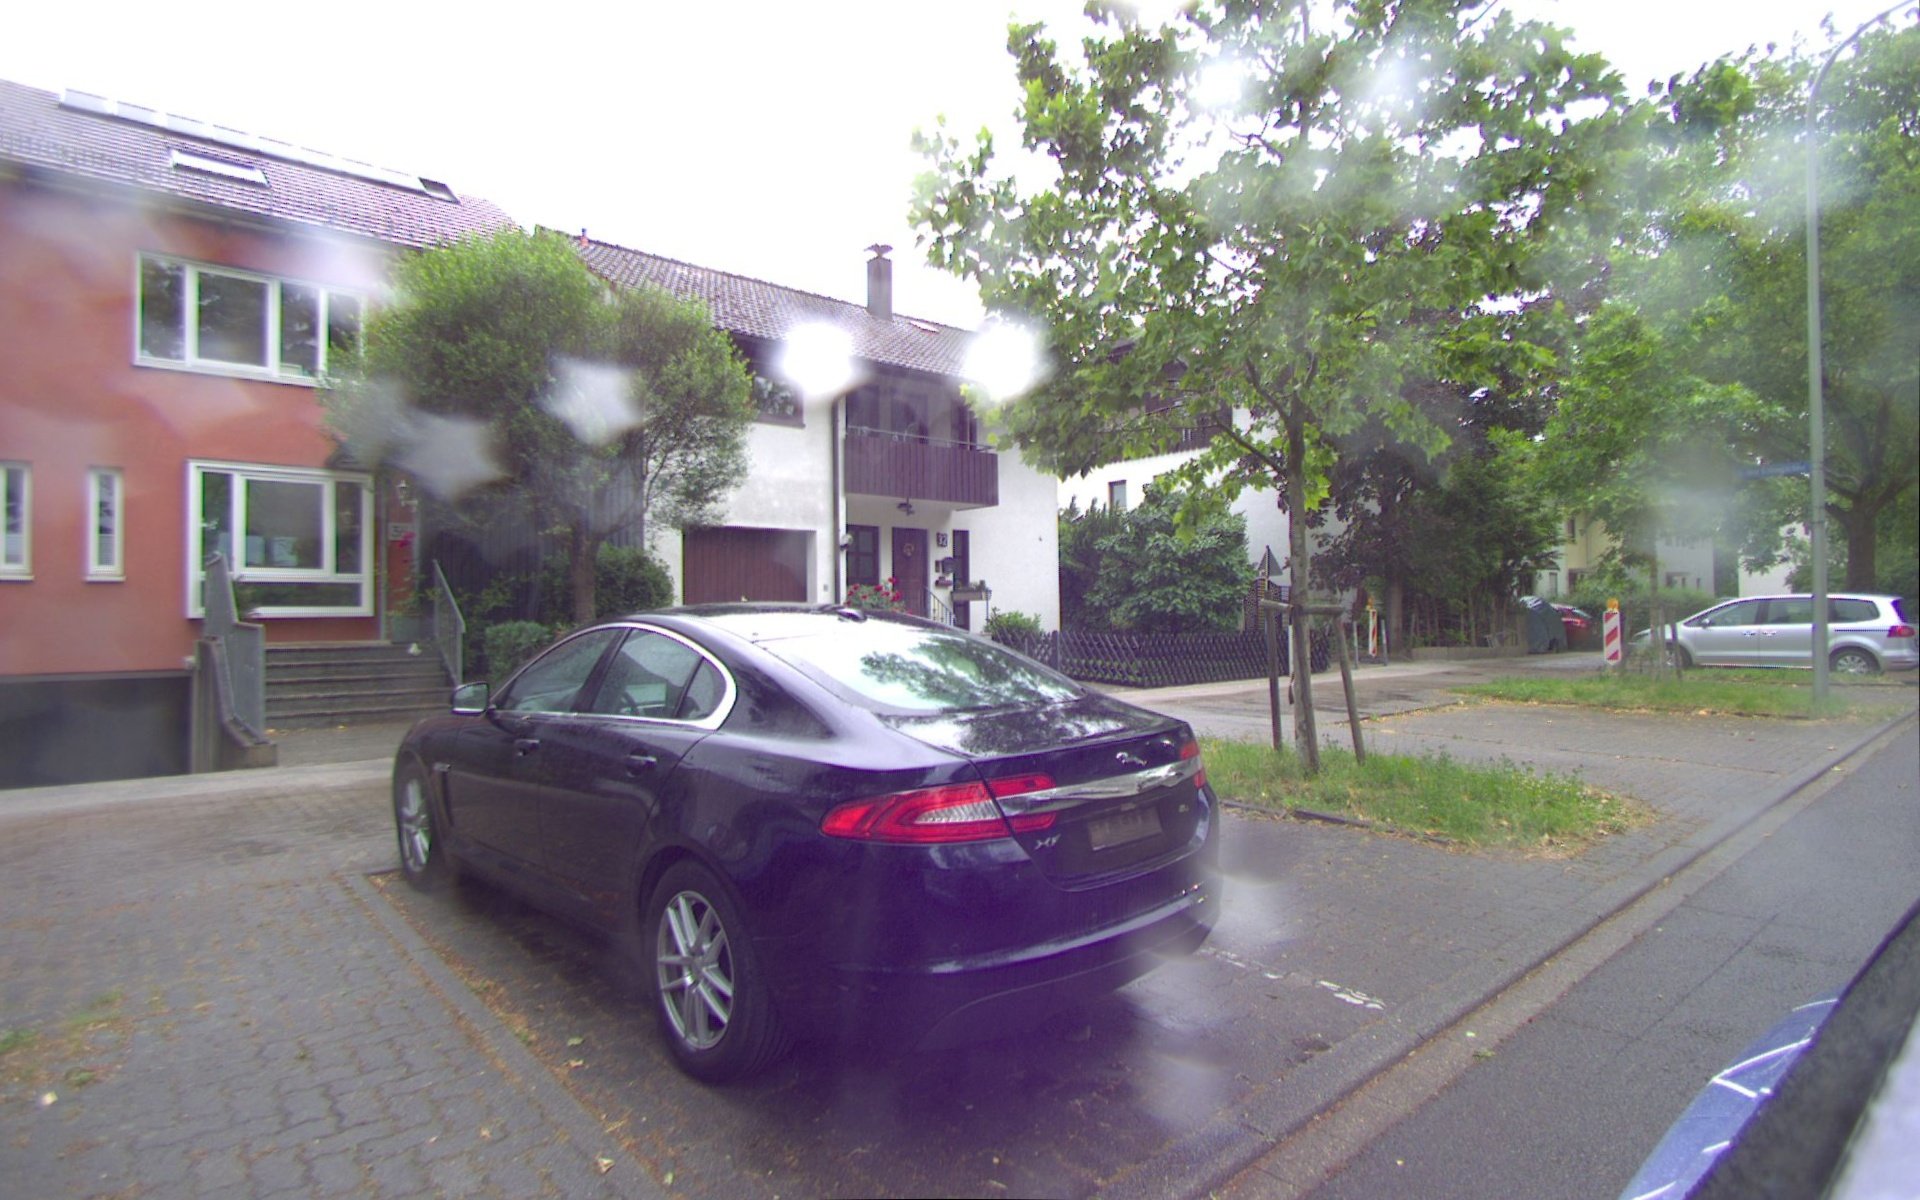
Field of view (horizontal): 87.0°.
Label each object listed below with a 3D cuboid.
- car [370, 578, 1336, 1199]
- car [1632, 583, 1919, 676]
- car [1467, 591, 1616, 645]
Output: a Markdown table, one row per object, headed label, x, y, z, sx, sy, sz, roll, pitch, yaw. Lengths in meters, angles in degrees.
| label | x | y | z | sx | sy | sz | roll | pitch | yaw |
| --- | --- | --- | --- | --- | --- | --- | --- | --- | --- |
| car | -0.990 | 0.696 | 4.646 | 1.905 | 1.492 | 4.769 | 1 | 0 | -44 |
| car | 16.636 | 0.548 | 20.517 | 1.942 | 1.682 | 4.694 | 1 | -1 | -42 |
| car | 18.957 | 0.557 | 33.118 | 1.809 | 1.633 | 3.853 | 0 | -1 | -39 |
